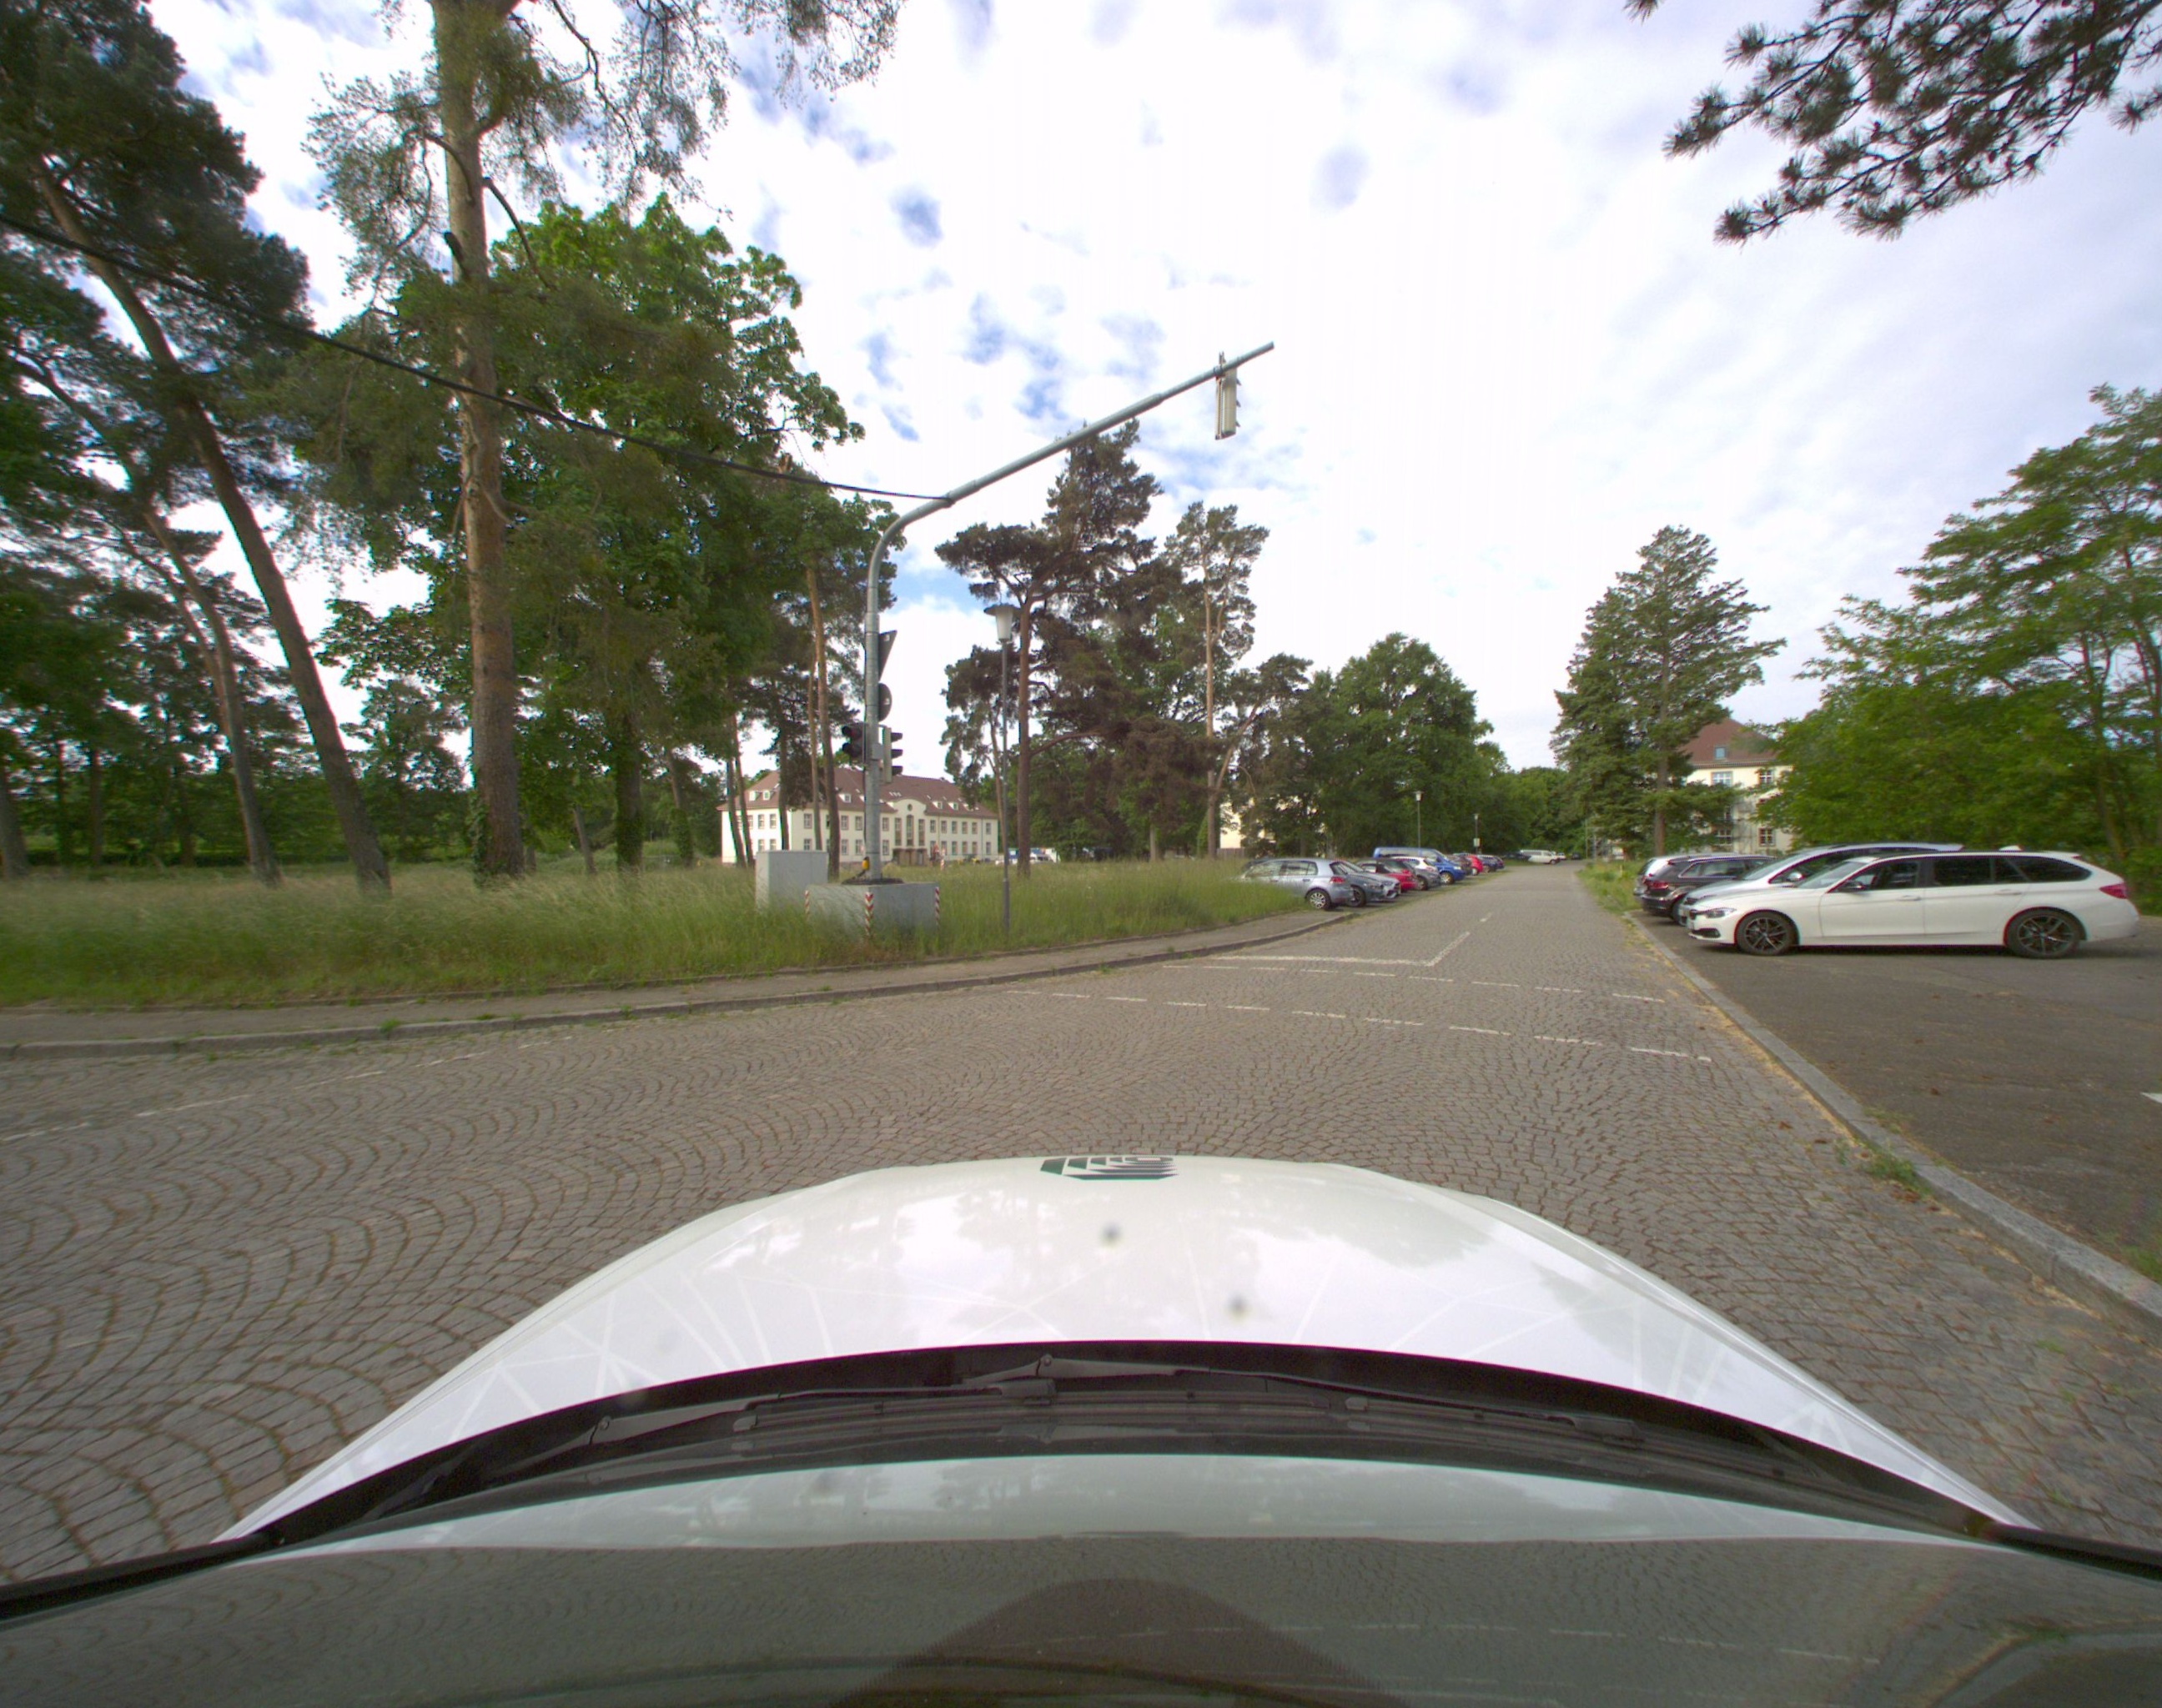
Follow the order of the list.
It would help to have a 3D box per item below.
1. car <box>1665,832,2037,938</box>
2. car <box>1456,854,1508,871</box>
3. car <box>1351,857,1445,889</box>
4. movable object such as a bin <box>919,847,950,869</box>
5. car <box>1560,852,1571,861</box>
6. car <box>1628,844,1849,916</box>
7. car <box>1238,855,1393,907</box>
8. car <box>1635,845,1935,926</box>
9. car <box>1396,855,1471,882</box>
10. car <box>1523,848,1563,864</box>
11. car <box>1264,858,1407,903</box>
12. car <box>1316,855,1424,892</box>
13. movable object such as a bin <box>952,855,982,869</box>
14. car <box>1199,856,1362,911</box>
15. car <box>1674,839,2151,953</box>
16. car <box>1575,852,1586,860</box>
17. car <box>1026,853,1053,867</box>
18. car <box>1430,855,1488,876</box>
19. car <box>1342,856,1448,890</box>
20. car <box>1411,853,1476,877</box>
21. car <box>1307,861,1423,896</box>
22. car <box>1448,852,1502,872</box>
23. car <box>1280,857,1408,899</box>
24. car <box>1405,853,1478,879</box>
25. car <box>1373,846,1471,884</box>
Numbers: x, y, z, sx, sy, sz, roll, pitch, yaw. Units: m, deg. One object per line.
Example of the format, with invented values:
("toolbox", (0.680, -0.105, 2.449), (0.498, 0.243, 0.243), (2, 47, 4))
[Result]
("car", (13.036, 0.578, 14.216), (4.289, 1.575, 1.837), (-4, -2, 26))
("car", (36.213, 0.760, 73.527), (4.032, 1.467, 1.636), (0, 0, 35))
("car", (15.447, 0.886, 39.712), (3.966, 1.501, 1.854), (0, 0, 32))
("movable object such as a bin", (-24.472, 0.678, 136.041), (2.153, 3.642, 6.062), (2, -2, -42))
("car", (100.951, 0.498, 169.652), (1.773, 1.636, 4.085), (-1, -2, 29))
("car", (15.274, 0.616, 19.196), (3.736, 1.480, 1.753), (-4, -1, 28))
("car", (7.459, 0.799, 25.954), (4.459, 1.537, 1.882), (0, -1, 28))
("car", (14.111, 0.656, 16.724), (4.324, 1.406, 1.808), (-4, -1, 29))
("car", (20.000, 0.804, 46.249), (3.758, 1.493, 1.736), (0, 0, 29))
("car", (64.619, 0.261, 113.953), (4.931, 2.072, 2.064), (0, -1, 30))
("car", (8.815, 0.856, 28.292), (4.394, 1.455, 1.961), (0, -1, 32))
("car", (12.338, 0.789, 34.831), (4.048, 1.480, 1.766), (0, 0, 32))
("movable object such as a bin", (-18.732, 1.331, 134.323), (4.463, 2.254, 2.395), (-1, -2, 36))
("car", (5.809, 0.803, 23.861), (4.287, 1.470, 1.838), (0, -1, 32))
("car", (11.698, 0.654, 11.994), (4.506, 1.425, 1.838), (-4, -2, 28))
("car", (103.344, 0.429, 168.590), (1.773, 1.720, 4.085), (-1, -2, 29))
("car", (-6.310, 0.979, 125.253), (2.042, 2.095, 4.372), (-2, -2, 31))
("car", (28.189, 0.824, 60.801), (3.779, 1.489, 1.799), (0, 0, 30))
("car", (14.260, 0.819, 37.061), (4.263, 1.480, 1.742), (0, 0, 32))
("car", (24.195, 0.714, 54.364), (3.779, 1.486, 1.772), (0, 0, 31))
("car", (11.252, 0.935, 32.336), (4.091, 1.283, 1.775), (0, 0, 31))
("car", (33.617, 0.659, 69.573), (4.032, 1.604, 1.798), (0, 0, 29))
("car", (9.805, 0.836, 30.408), (4.213, 1.455, 1.867), (0, 0, 31))
("car", (22.933, 0.729, 51.850), (4.029, 1.575, 1.966), (0, 0, 30))
("car", (18.461, 0.551, 44.123), (4.664, 1.980, 2.051), (0, 0, 30))
